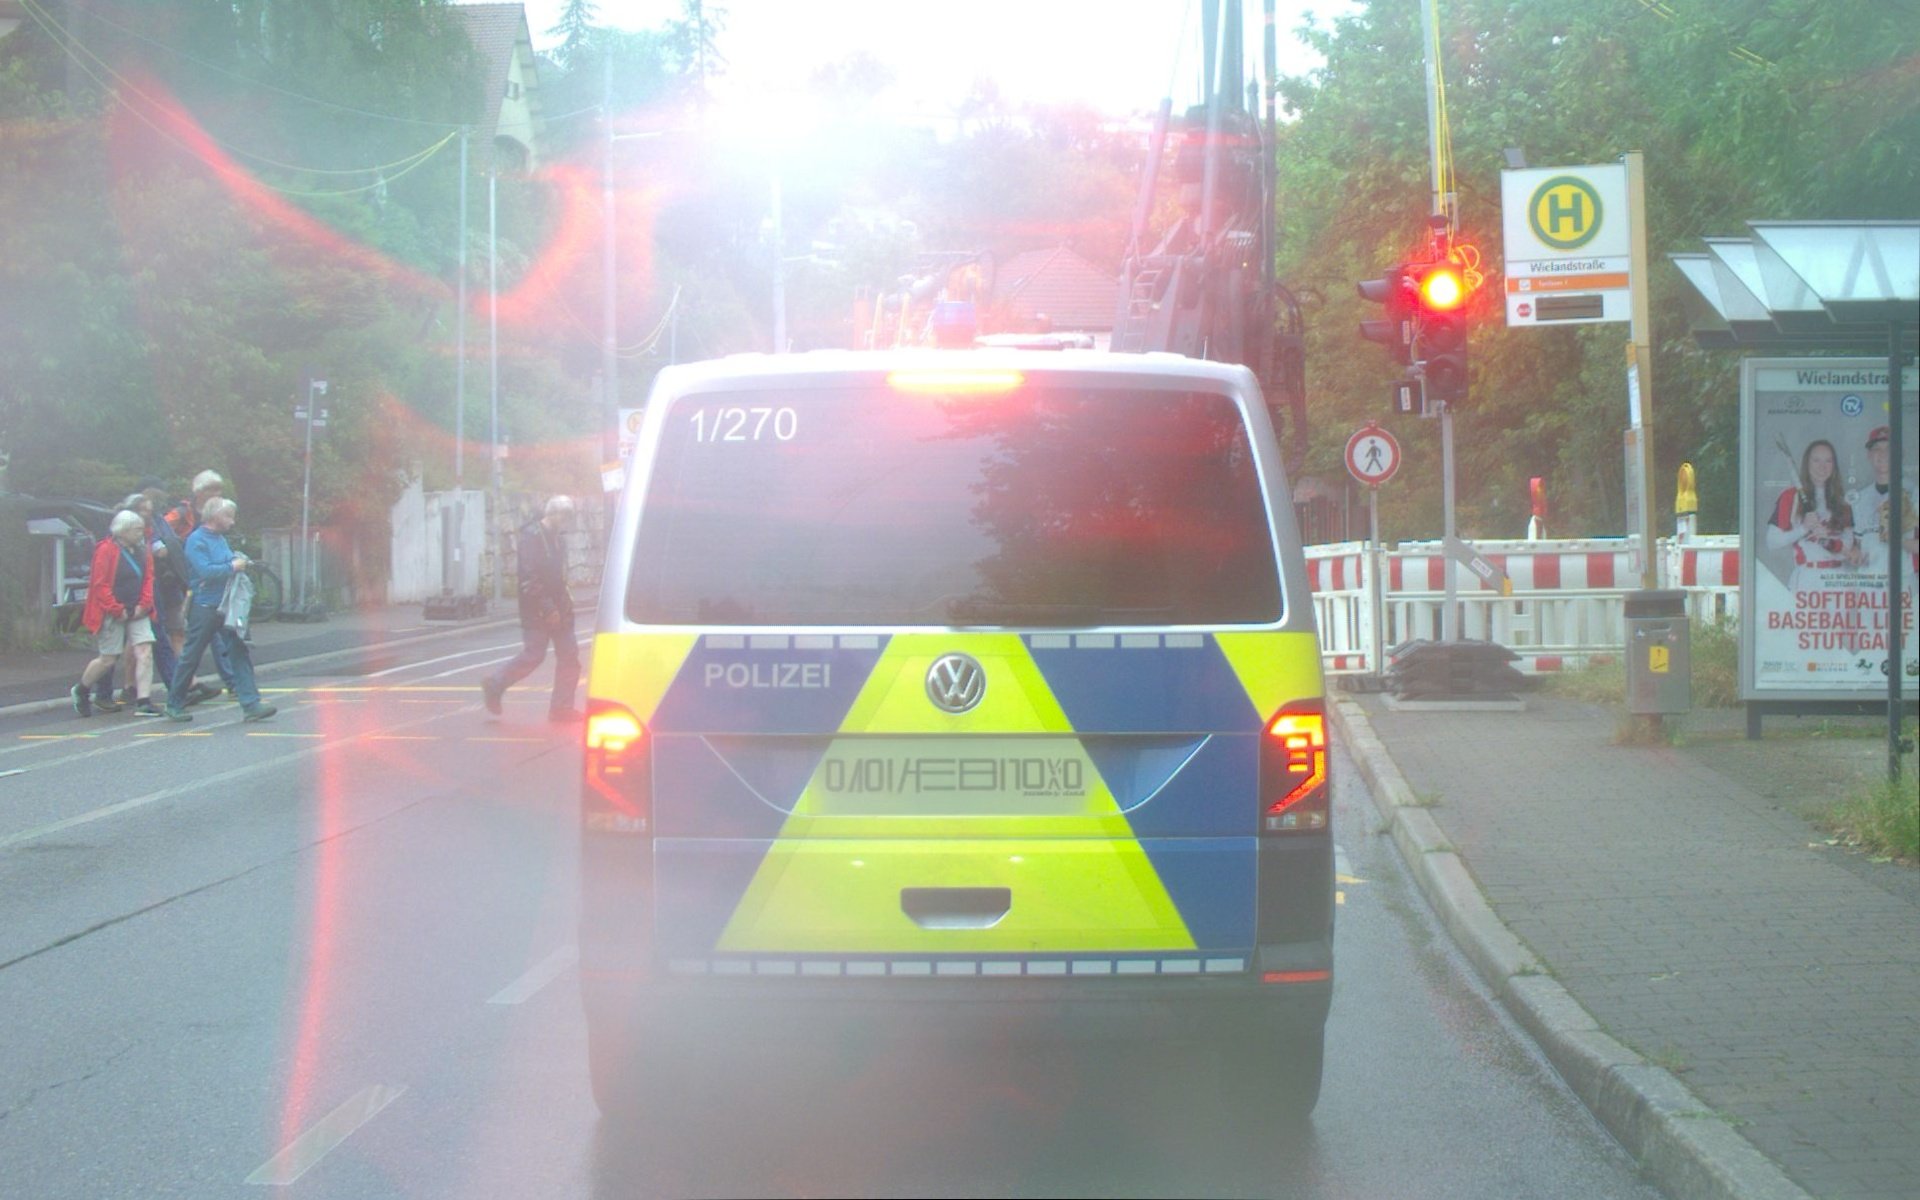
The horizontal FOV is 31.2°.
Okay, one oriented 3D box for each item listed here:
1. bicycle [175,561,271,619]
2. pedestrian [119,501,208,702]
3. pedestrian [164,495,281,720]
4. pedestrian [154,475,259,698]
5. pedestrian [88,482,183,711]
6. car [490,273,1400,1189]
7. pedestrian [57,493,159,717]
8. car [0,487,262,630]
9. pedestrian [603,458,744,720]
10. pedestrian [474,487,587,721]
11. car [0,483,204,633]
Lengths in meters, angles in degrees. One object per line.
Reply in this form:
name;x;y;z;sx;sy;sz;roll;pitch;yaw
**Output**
bicycle;-8.778;-0.117;40.947;1.054;0.660;0.320;1;-1;10
pedestrian;-6.057;0.013;26.152;0.525;1.502;0.429;1;-1;2
pedestrian;-5.079;0.052;23.707;0.626;1.517;0.593;1;-1;2
pedestrian;-5.872;-0.101;26.799;0.626;1.709;0.593;1;-1;2
pedestrian;-6.084;-0.026;25.382;0.549;1.662;0.414;1;-1;2
car;-0.015;0.238;9.832;1.993;2.007;4.402;1;1;1
pedestrian;-6.091;0.037;24.596;0.563;1.577;0.468;1;-1;2
car;-9.967;-0.468;38.038;3.989;1.481;1.759;1;-1;11
pedestrian;-2.003;-0.071;24.102;0.889;1.781;0.828;1;-1;-1
pedestrian;-2.999;0.032;24.050;0.686;1.598;0.606;1;-1;-1
car;-10.136;-0.448;35.889;3.989;1.481;1.759;1;-1;11
